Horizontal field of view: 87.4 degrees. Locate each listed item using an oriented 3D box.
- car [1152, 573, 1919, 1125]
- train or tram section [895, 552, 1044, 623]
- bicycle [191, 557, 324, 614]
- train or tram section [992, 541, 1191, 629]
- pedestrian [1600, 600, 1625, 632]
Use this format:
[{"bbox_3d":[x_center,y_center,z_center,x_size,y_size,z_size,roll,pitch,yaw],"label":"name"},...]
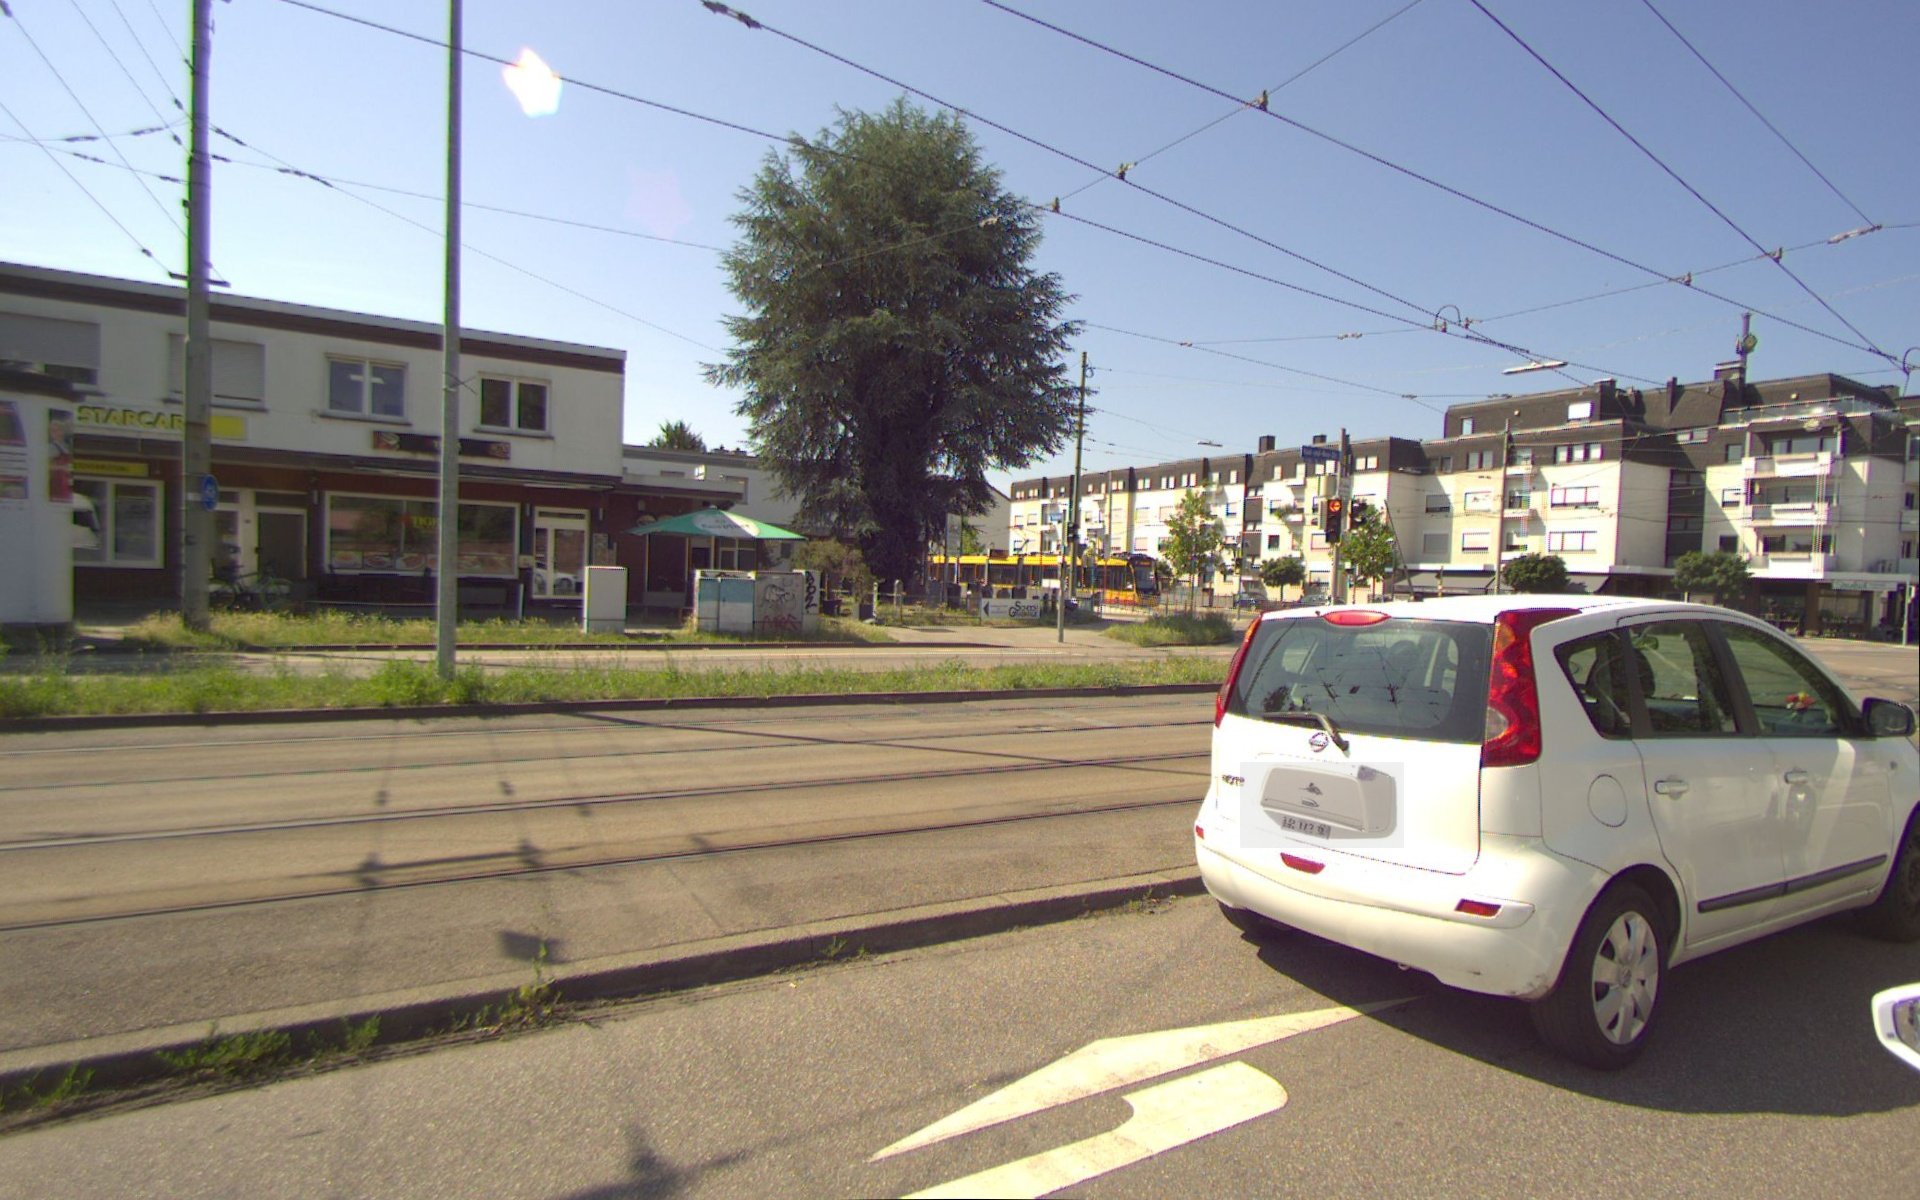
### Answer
[{"bbox_3d":[2.847,0.725,4.556,3.759,1.587,1.634,0,0,-31],"label":"car"},{"bbox_3d":[0.358,-0.936,83.294,4.681,5.217,16.121,2,-1,-30],"label":"train or tram section"},{"bbox_3d":[-15.518,-0.294,22.273,2.306,1.167,0.783,2,-1,-30],"label":"bicycle"},{"bbox_3d":[8.518,-0.904,69.395,4.681,5.217,16.121,2,-1,-30],"label":"train or tram section"},{"bbox_3d":[36.424,0.908,56.097,0.956,1.766,0.864,2,-1,21],"label":"pedestrian"}]
